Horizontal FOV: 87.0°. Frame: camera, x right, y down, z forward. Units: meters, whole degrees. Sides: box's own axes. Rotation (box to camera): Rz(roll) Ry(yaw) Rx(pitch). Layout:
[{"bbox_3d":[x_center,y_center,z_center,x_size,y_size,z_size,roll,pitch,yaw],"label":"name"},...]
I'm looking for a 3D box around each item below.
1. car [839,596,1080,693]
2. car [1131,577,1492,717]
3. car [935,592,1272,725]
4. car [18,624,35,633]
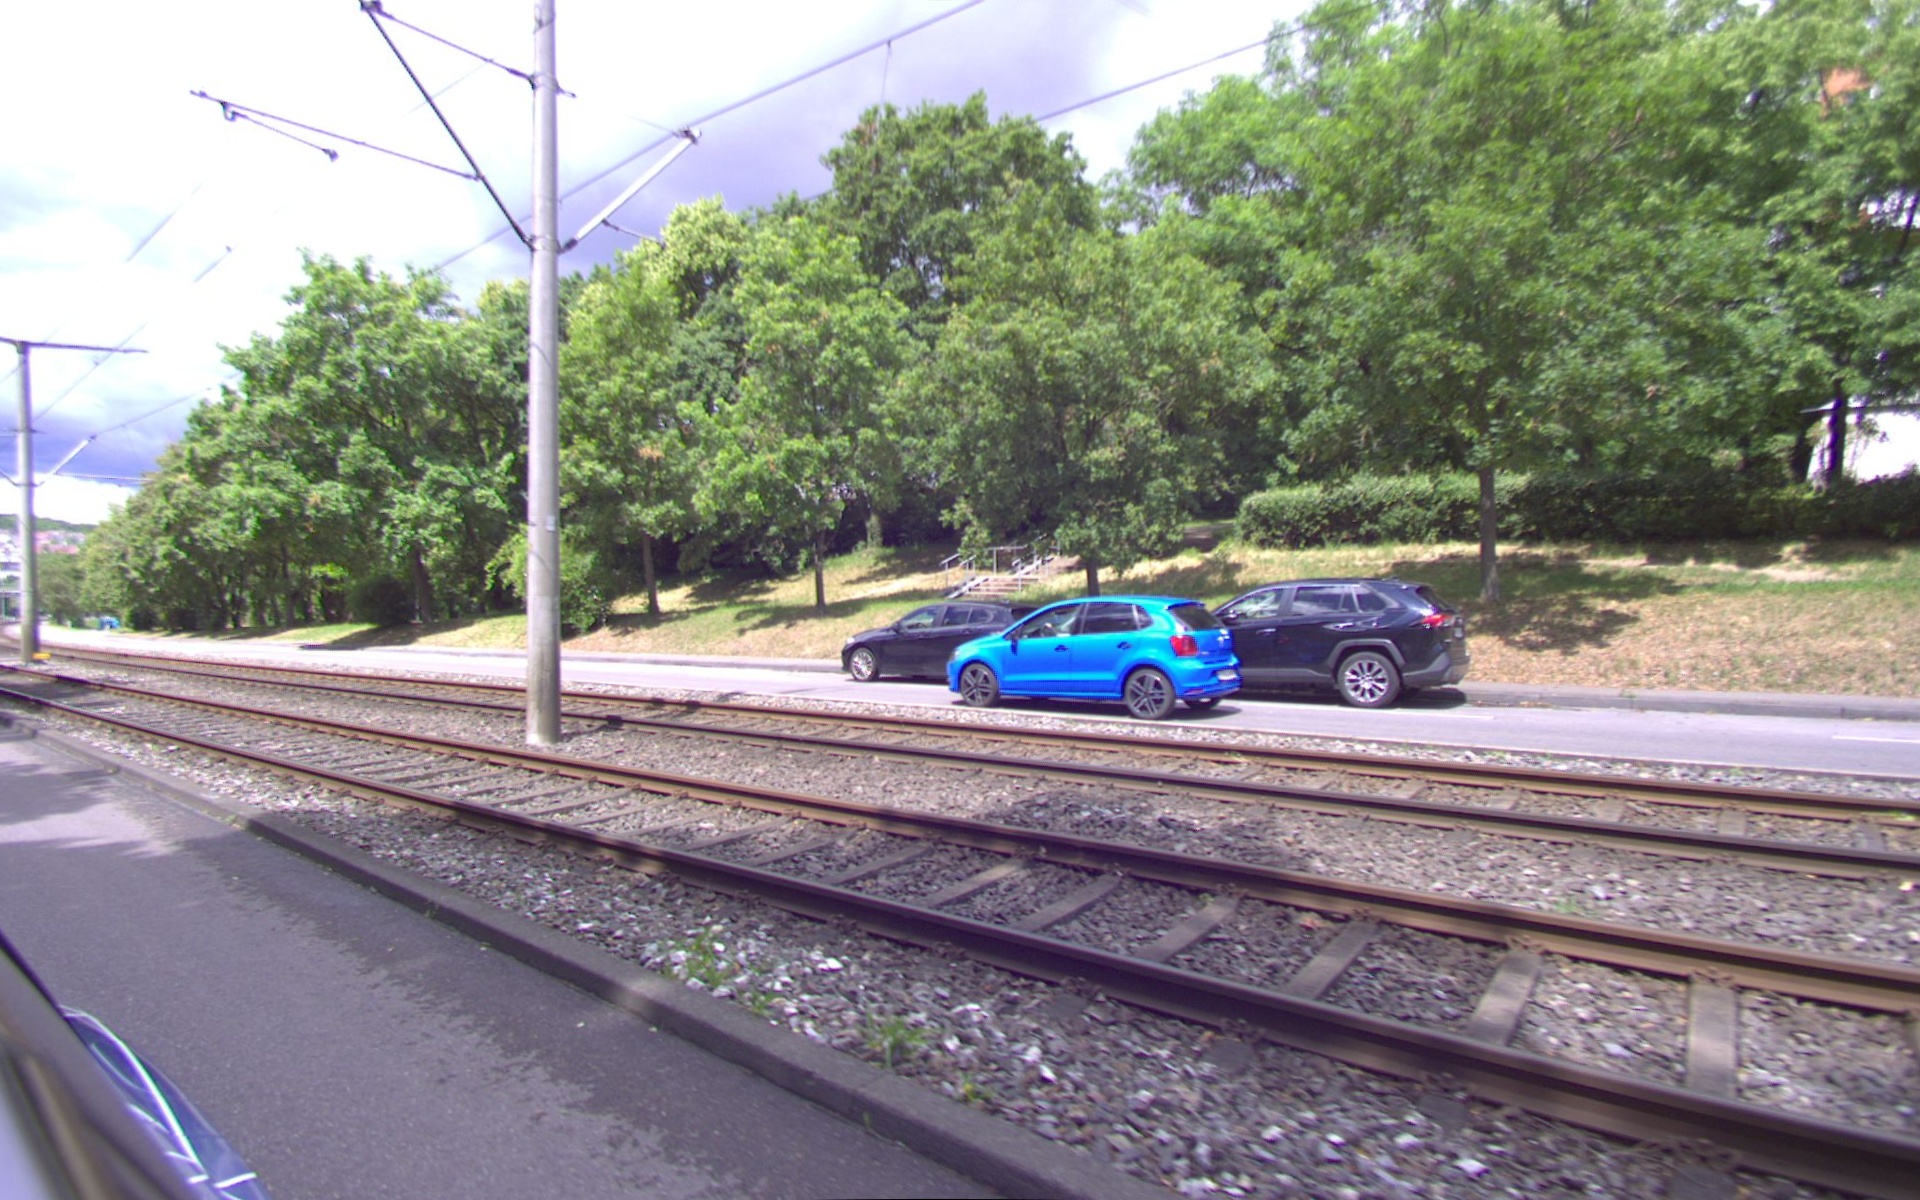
[{"bbox_3d":[-0.073,0.727,17.765,3.991,1.510,1.757,-1,0,38],"label":"car"},{"bbox_3d":[4.717,0.567,13.916,4.376,1.642,1.757,0,-1,38],"label":"car"},{"bbox_3d":[1.740,0.666,12.917,3.937,1.453,1.699,-1,0,38],"label":"car"},{"bbox_3d":[-151.849,4.627,164.608,4.863,1.402,1.815,-2,-3,44],"label":"car"}]
